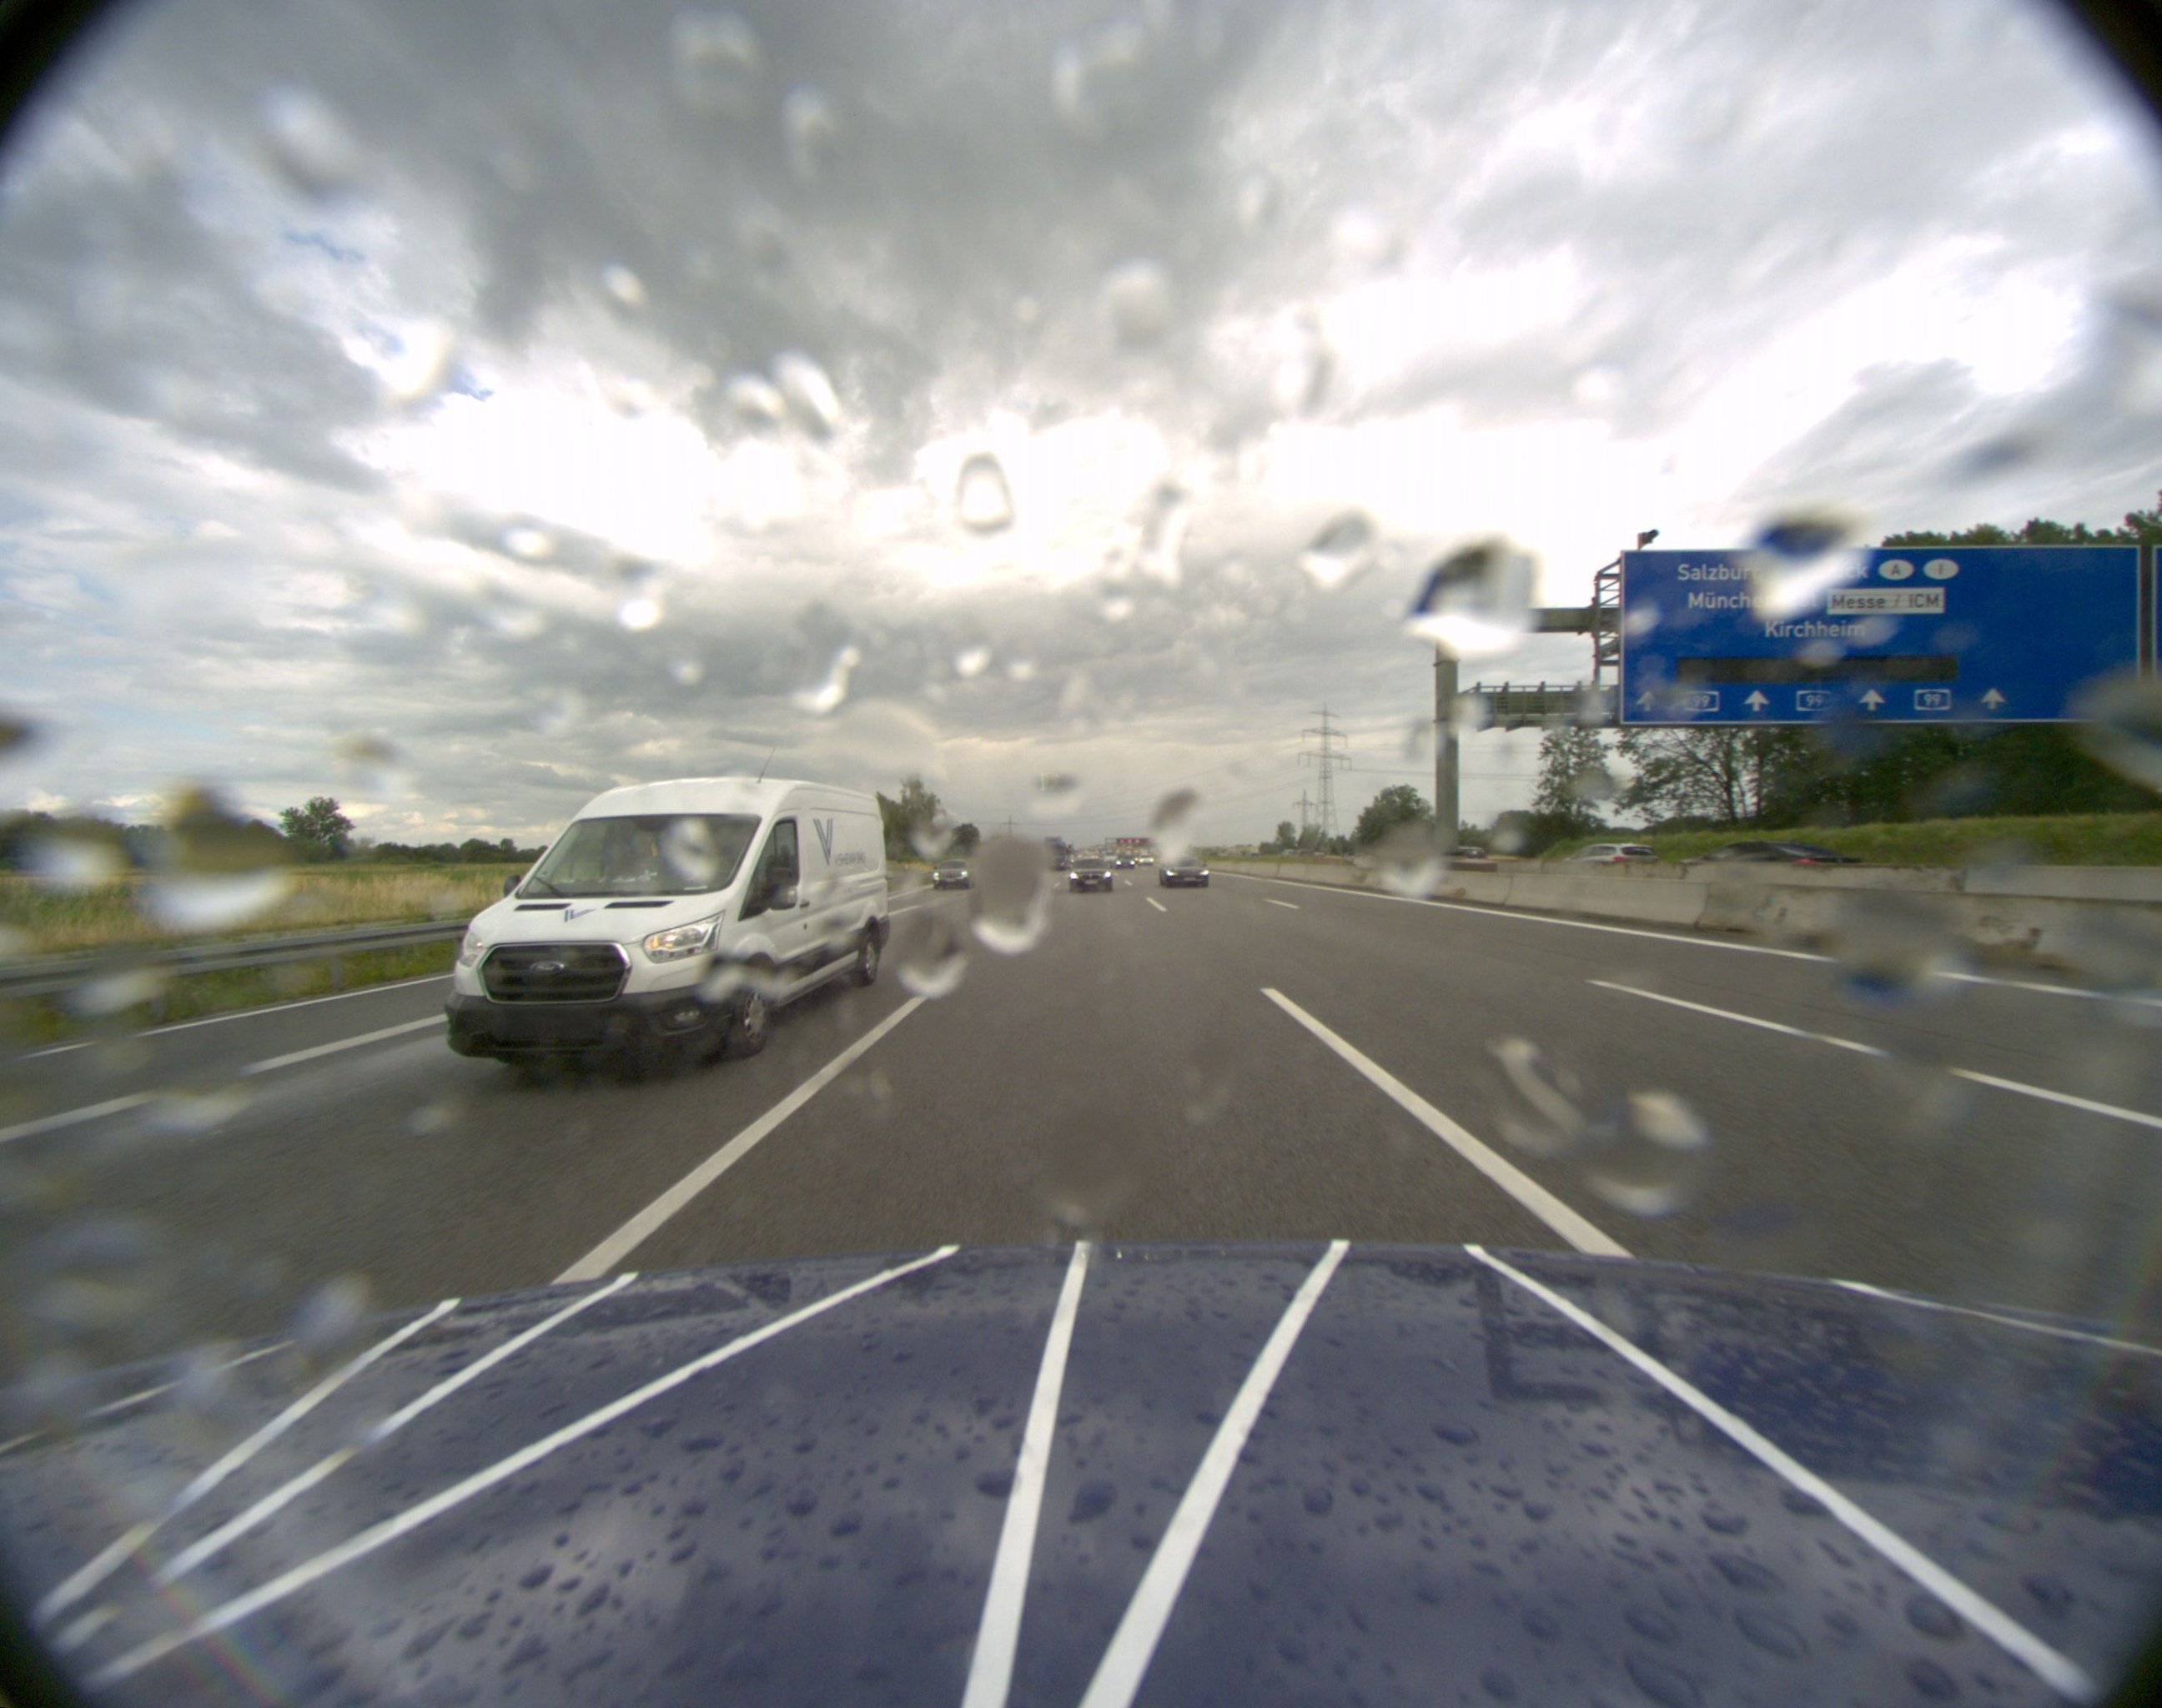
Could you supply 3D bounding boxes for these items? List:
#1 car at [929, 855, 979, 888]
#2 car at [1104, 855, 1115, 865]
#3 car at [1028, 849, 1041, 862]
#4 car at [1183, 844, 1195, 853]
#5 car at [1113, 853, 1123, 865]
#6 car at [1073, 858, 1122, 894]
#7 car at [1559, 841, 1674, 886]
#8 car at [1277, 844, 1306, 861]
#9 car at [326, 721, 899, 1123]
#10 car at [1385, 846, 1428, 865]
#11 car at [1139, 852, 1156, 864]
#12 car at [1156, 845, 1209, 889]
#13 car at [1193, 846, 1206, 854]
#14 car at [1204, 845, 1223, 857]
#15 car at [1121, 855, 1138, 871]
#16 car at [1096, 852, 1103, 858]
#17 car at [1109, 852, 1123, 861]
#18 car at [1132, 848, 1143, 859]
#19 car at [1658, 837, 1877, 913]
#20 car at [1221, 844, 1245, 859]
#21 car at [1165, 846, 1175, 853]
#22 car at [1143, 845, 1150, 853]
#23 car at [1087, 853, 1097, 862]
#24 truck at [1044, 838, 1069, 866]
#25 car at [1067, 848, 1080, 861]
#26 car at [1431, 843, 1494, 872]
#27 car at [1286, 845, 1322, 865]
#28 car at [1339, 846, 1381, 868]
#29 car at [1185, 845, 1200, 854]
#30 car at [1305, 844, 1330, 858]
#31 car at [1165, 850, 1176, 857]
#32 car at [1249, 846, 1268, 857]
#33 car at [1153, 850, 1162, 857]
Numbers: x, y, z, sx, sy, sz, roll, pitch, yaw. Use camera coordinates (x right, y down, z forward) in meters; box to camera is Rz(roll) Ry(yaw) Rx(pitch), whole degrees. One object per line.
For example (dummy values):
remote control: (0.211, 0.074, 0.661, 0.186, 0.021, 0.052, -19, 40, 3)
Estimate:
car: (-6.589, 0.884, 39.998, 1.999, 1.632, 4.629, -1, 0, -2)
car: (5.434, 1.059, 145.490, 1.998, 1.810, 5.162, -1, 0, 0)
car: (-7.522, 0.182, 122.380, 1.836, 2.002, 3.863, -1, 0, 0)
car: (23.152, -1.216, 162.877, 1.824, 1.897, 4.000, -1, 0, 0)
car: (8.157, 1.144, 166.764, 2.144, 2.486, 5.449, -1, 0, 4)
car: (0.693, 0.883, 32.482, 1.923, 1.407, 4.000, -1, 0, 1)
car: (22.229, 0.370, 31.754, 1.998, 1.717, 4.017, -1, 0, 0)
car: (23.058, -0.165, 83.240, 1.786, 1.687, 4.352, -1, 0, -2)
car: (-3.602, 0.436, 7.508, 2.145, 2.486, 5.448, -1, 0, 1)
car: (26.604, 0.114, 62.244, 1.758, 1.489, 4.017, -1, 0, 0)
car: (8.490, 0.504, 97.420, 1.822, 1.565, 4.000, -1, 0, 1)
car: (4.591, 0.564, 34.969, 1.998, 1.810, 5.164, -1, 0, 3)
car: (22.071, -0.726, 141.608, 1.824, 1.403, 4.000, -1, 0, 0)
car: (19.077, -0.402, 109.606, 1.786, 1.603, 4.352, -1, 0, -2)
car: (4.998, 0.890, 78.122, 1.710, 1.562, 4.347, -1, 0, 4)
car: (5.352, 0.384, 221.662, 1.998, 1.800, 4.274, -1, 0, 1)
car: (5.309, 0.381, 115.185, 1.806, 1.424, 4.000, -1, 0, 0)
car: (8.950, -0.065, 120.509, 1.710, 1.621, 4.001, -1, 0, 4)
car: (17.439, 0.483, 19.617, 1.998, 1.717, 4.017, -1, 0, 0)
car: (18.825, -0.297, 94.295, 1.786, 1.687, 4.501, -1, 0, -2)
car: (23.996, -1.198, 204.441, 2.078, 1.958, 4.952, -1, 0, 0)
car: (19.145, -1.416, 221.834, 1.824, 2.111, 4.000, -1, 0, 0)
car: (2.385, 0.706, 167.125, 1.998, 1.810, 5.163, -1, 0, 2)
truck: (-2.495, -0.236, 79.343, 2.391, 2.726, 6.593, -1, 0, 0)
car: (-1.266, 0.099, 124.948, 1.999, 2.002, 5.051, -1, 0, 0)
car: (24.524, 0.217, 48.978, 1.998, 1.717, 4.017, -1, 0, 0)
car: (18.889, 0.070, 64.540, 1.801, 1.605, 4.000, -1, 0, 0)
car: (23.363, 0.236, 63.779, 1.998, 1.717, 4.017, -1, 0, 0)
car: (18.799, -0.722, 127.938, 1.824, 1.403, 4.000, -1, 0, 0)
car: (30.647, -0.383, 98.511, 1.786, 1.687, 4.352, -1, 0, -2)
car: (18.799, -0.146, 159.851, 1.824, 1.403, 4.000, -1, 0, 0)
car: (23.321, -0.375, 99.966, 1.639, 1.403, 3.755, -1, 0, 0)
car: (19.615, -0.036, 195.141, 1.824, 1.721, 4.000, -1, 0, 0)
